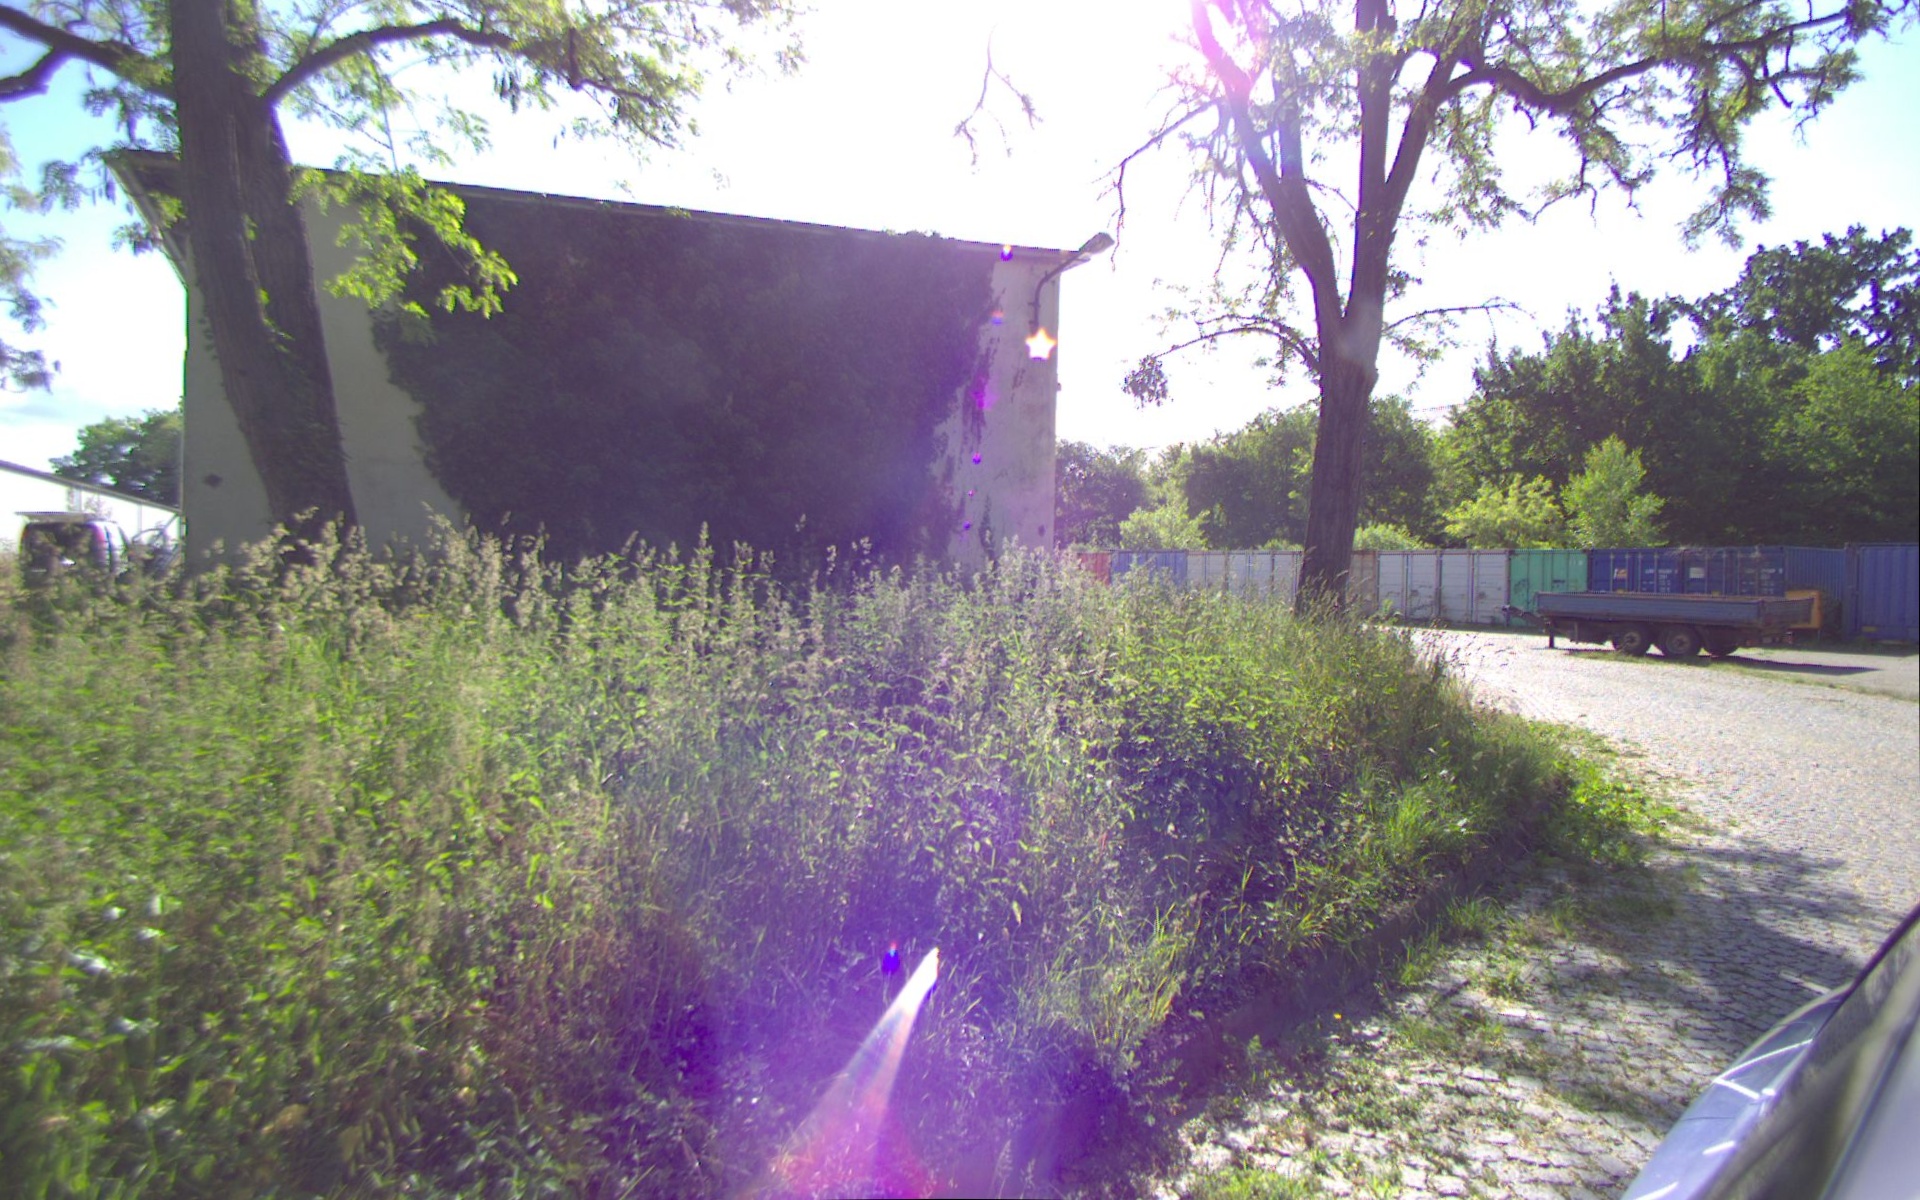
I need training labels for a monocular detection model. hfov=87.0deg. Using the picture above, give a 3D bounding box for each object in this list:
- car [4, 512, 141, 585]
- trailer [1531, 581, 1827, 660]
[{"bbox_3d":[-24.506,-1.447,28.131,2.037,1.852,4.279,-2,4,-30],"label":"car"},{"bbox_3d":[16.263,0.369,23.178,2.597,1.432,4.868,0,3,-31],"label":"trailer"}]
